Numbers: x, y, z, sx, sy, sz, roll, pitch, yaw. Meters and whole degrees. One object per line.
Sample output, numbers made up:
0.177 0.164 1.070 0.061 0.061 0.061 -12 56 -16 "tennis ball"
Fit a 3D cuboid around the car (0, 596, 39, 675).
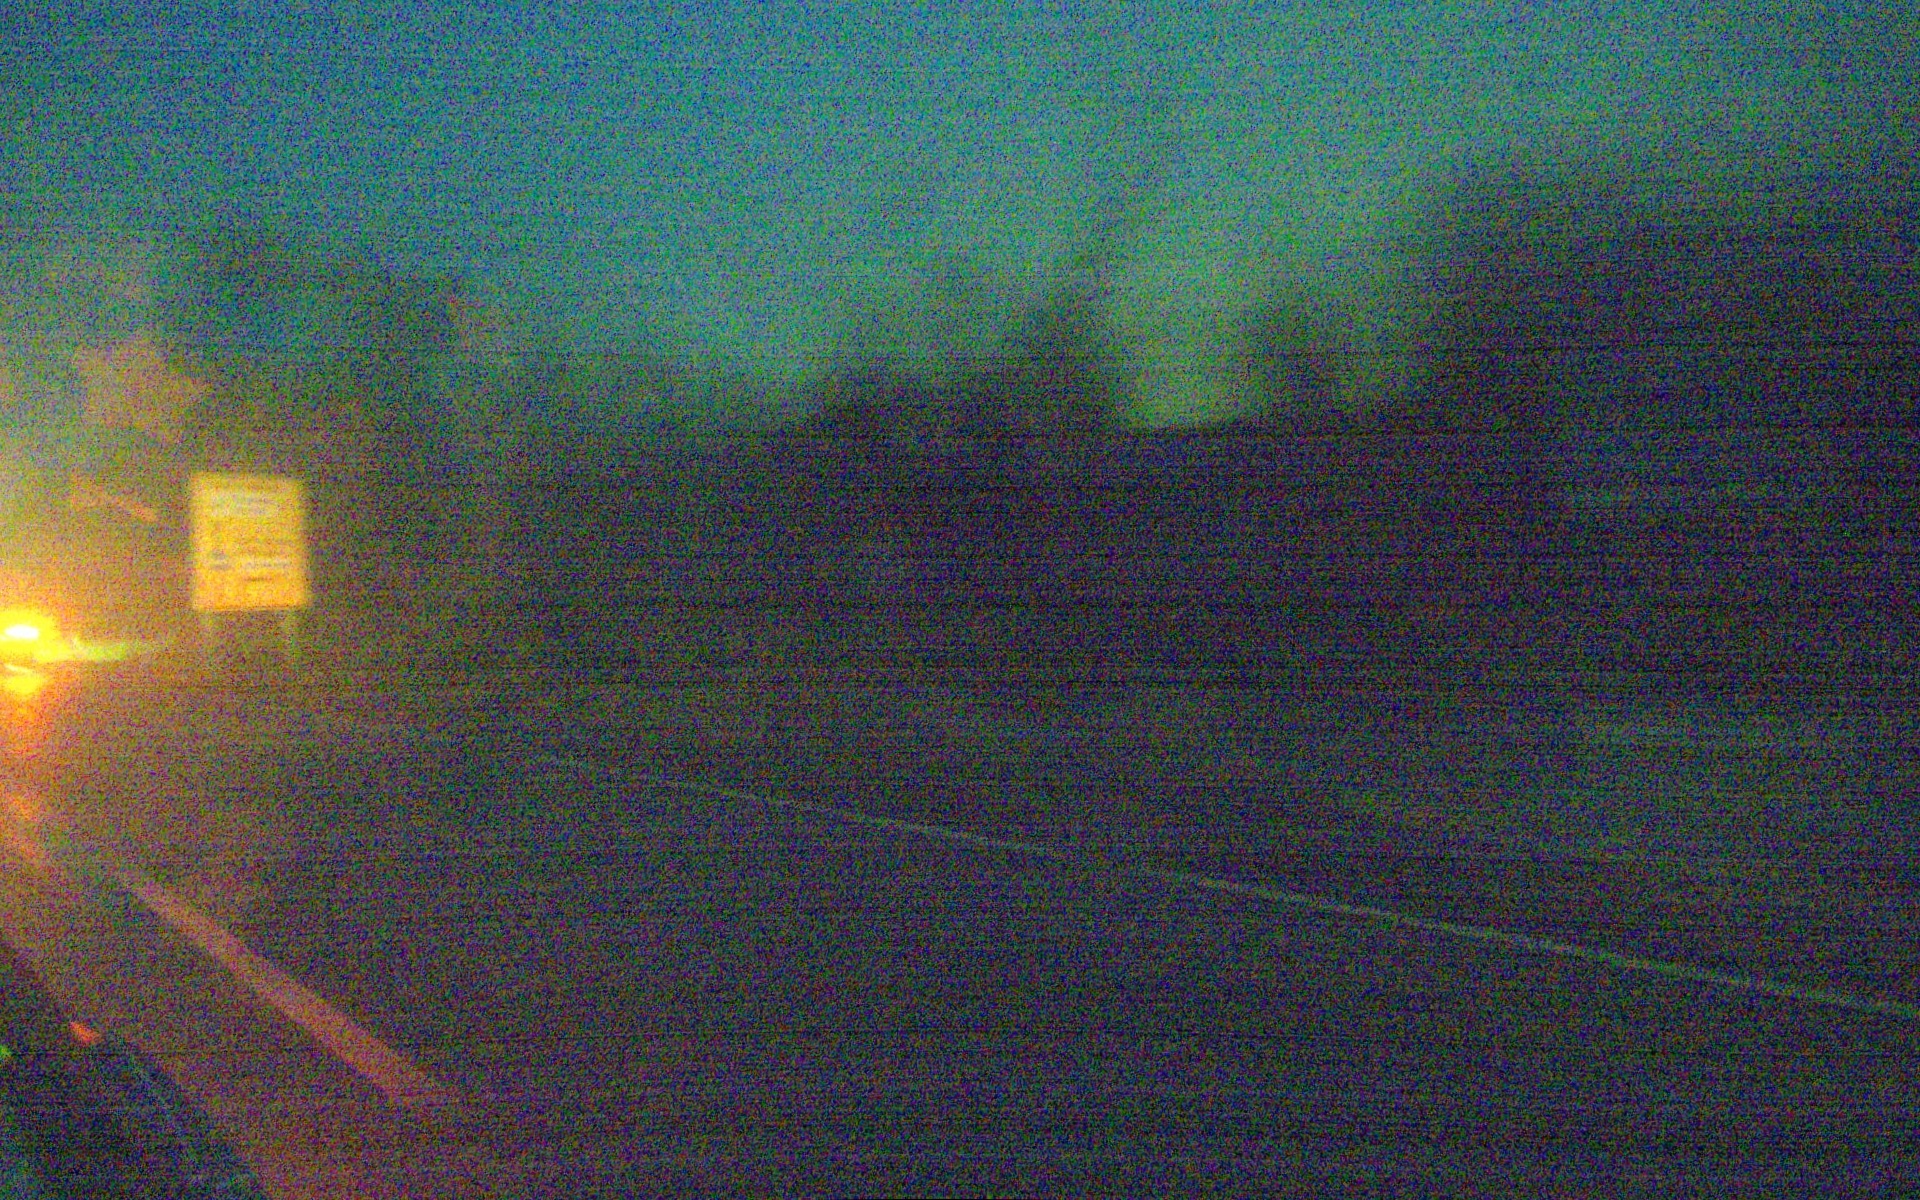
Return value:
-26.369 0.947 27.167 3.998 2.029 1.973 -1 0 41 "car"
